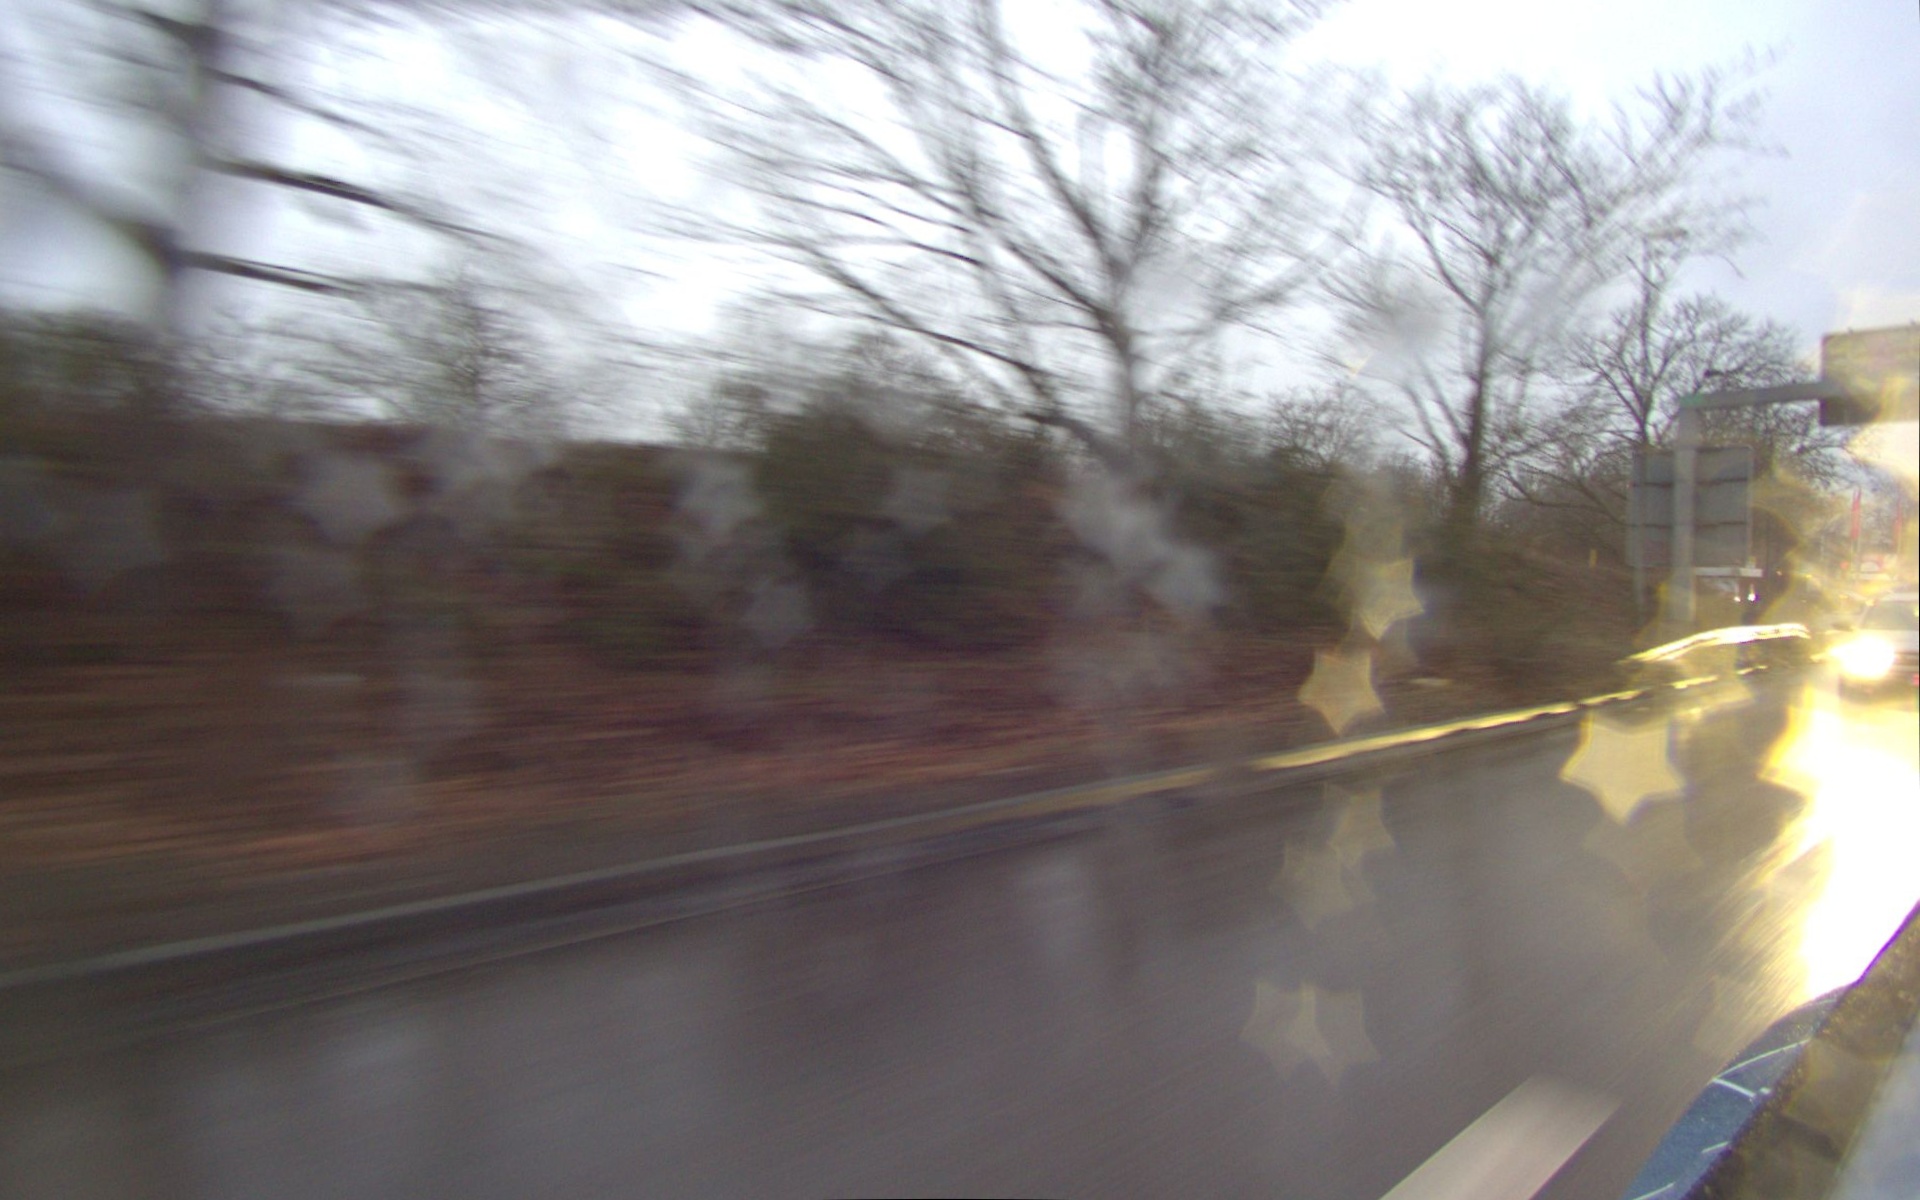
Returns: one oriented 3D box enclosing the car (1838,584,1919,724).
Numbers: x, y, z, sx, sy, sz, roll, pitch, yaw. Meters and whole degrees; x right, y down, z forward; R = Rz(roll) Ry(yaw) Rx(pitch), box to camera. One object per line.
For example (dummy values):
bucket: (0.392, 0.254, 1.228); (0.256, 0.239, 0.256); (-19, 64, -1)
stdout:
car: (12.343, 0.599, 12.414); (3.930, 1.552, 1.829); (-1, 2, -41)
